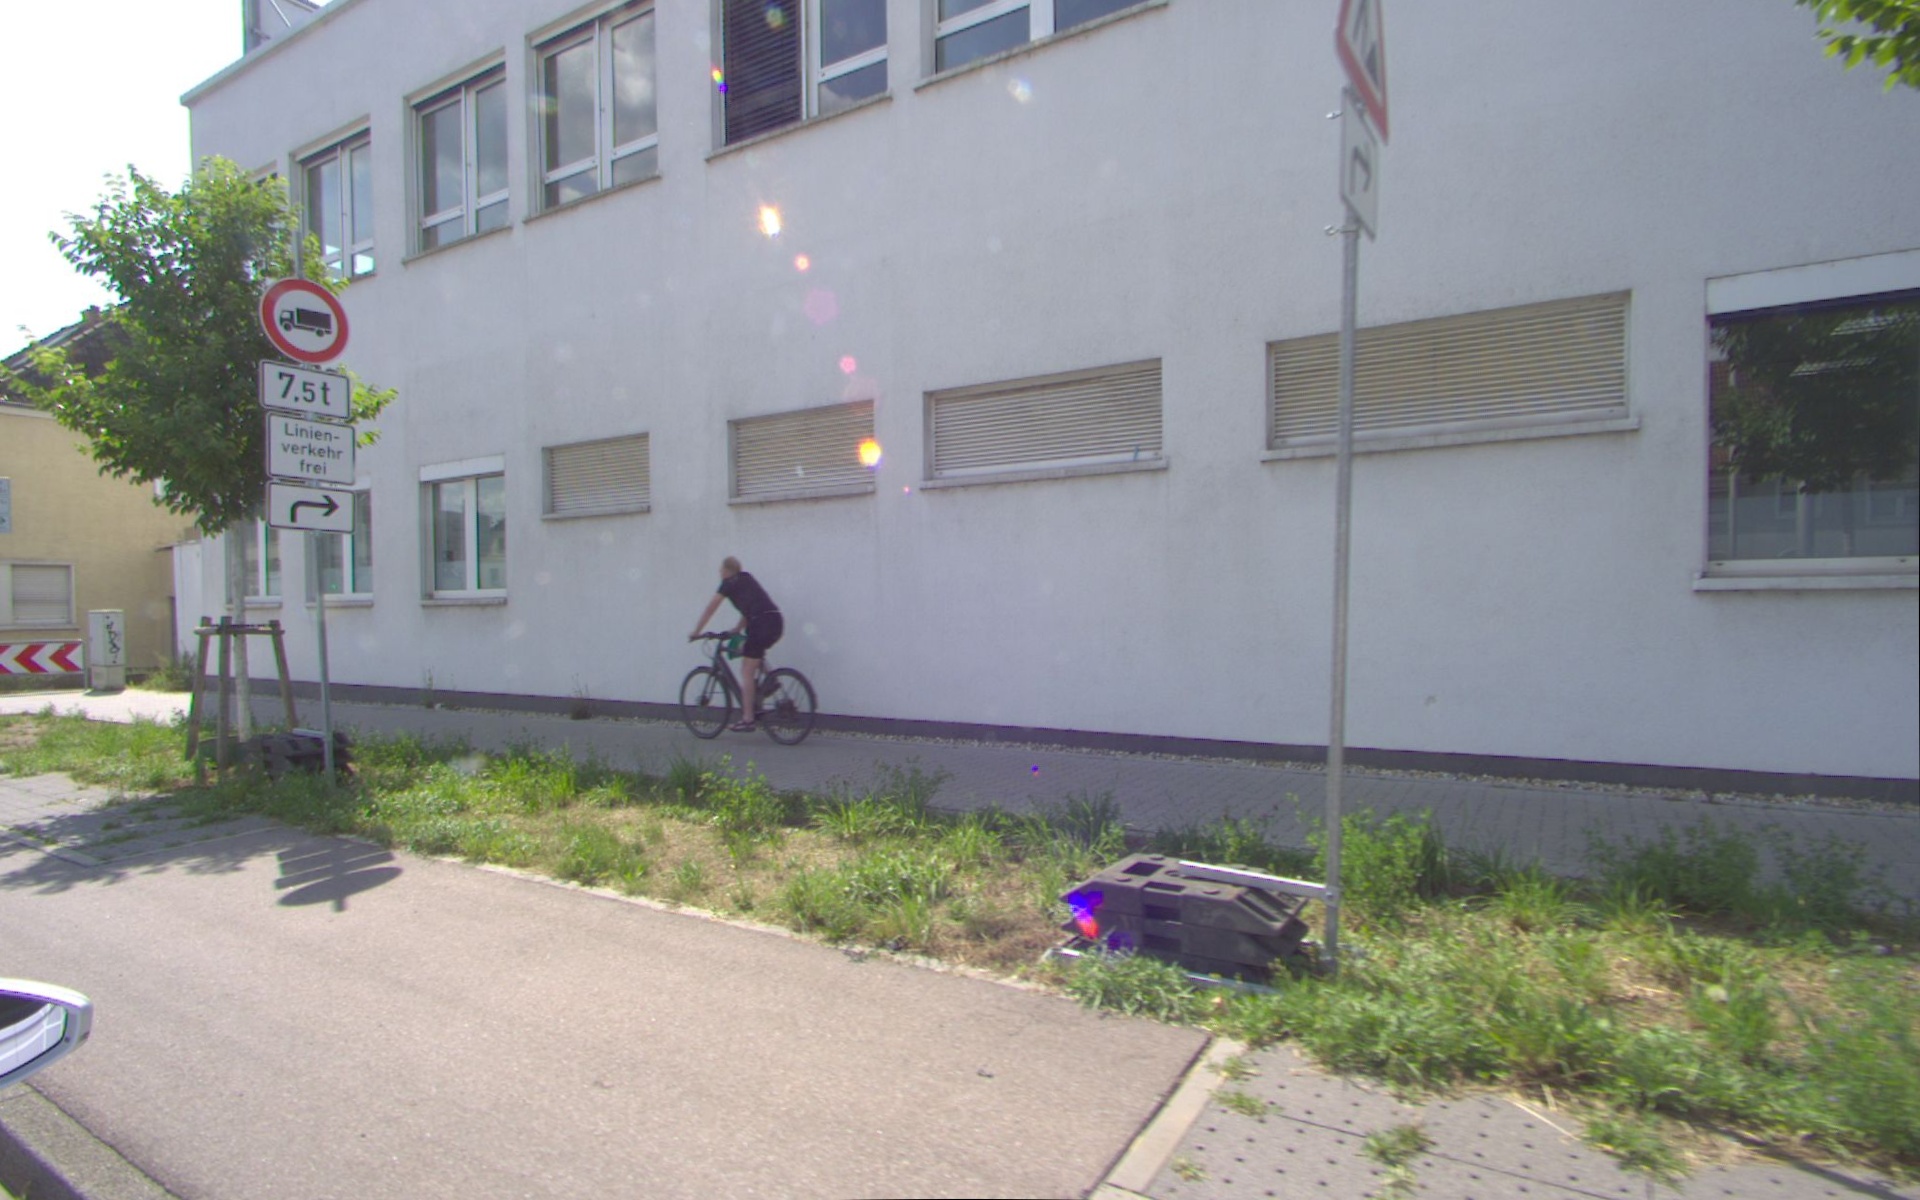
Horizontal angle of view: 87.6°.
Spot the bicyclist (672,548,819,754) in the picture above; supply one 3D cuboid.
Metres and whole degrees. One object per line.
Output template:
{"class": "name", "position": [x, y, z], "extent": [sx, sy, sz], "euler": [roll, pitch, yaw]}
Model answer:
{"class": "bicyclist", "position": [-2.025, 0.444, 9.472], "extent": [1.069, 1.818, 0.825], "euler": [0, 2, 36]}

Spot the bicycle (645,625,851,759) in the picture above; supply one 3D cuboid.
{"class": "bicycle", "position": [-2.036, 0.815, 9.511], "extent": [1.945, 1.090, 0.825], "euler": [0, 2, 36]}
